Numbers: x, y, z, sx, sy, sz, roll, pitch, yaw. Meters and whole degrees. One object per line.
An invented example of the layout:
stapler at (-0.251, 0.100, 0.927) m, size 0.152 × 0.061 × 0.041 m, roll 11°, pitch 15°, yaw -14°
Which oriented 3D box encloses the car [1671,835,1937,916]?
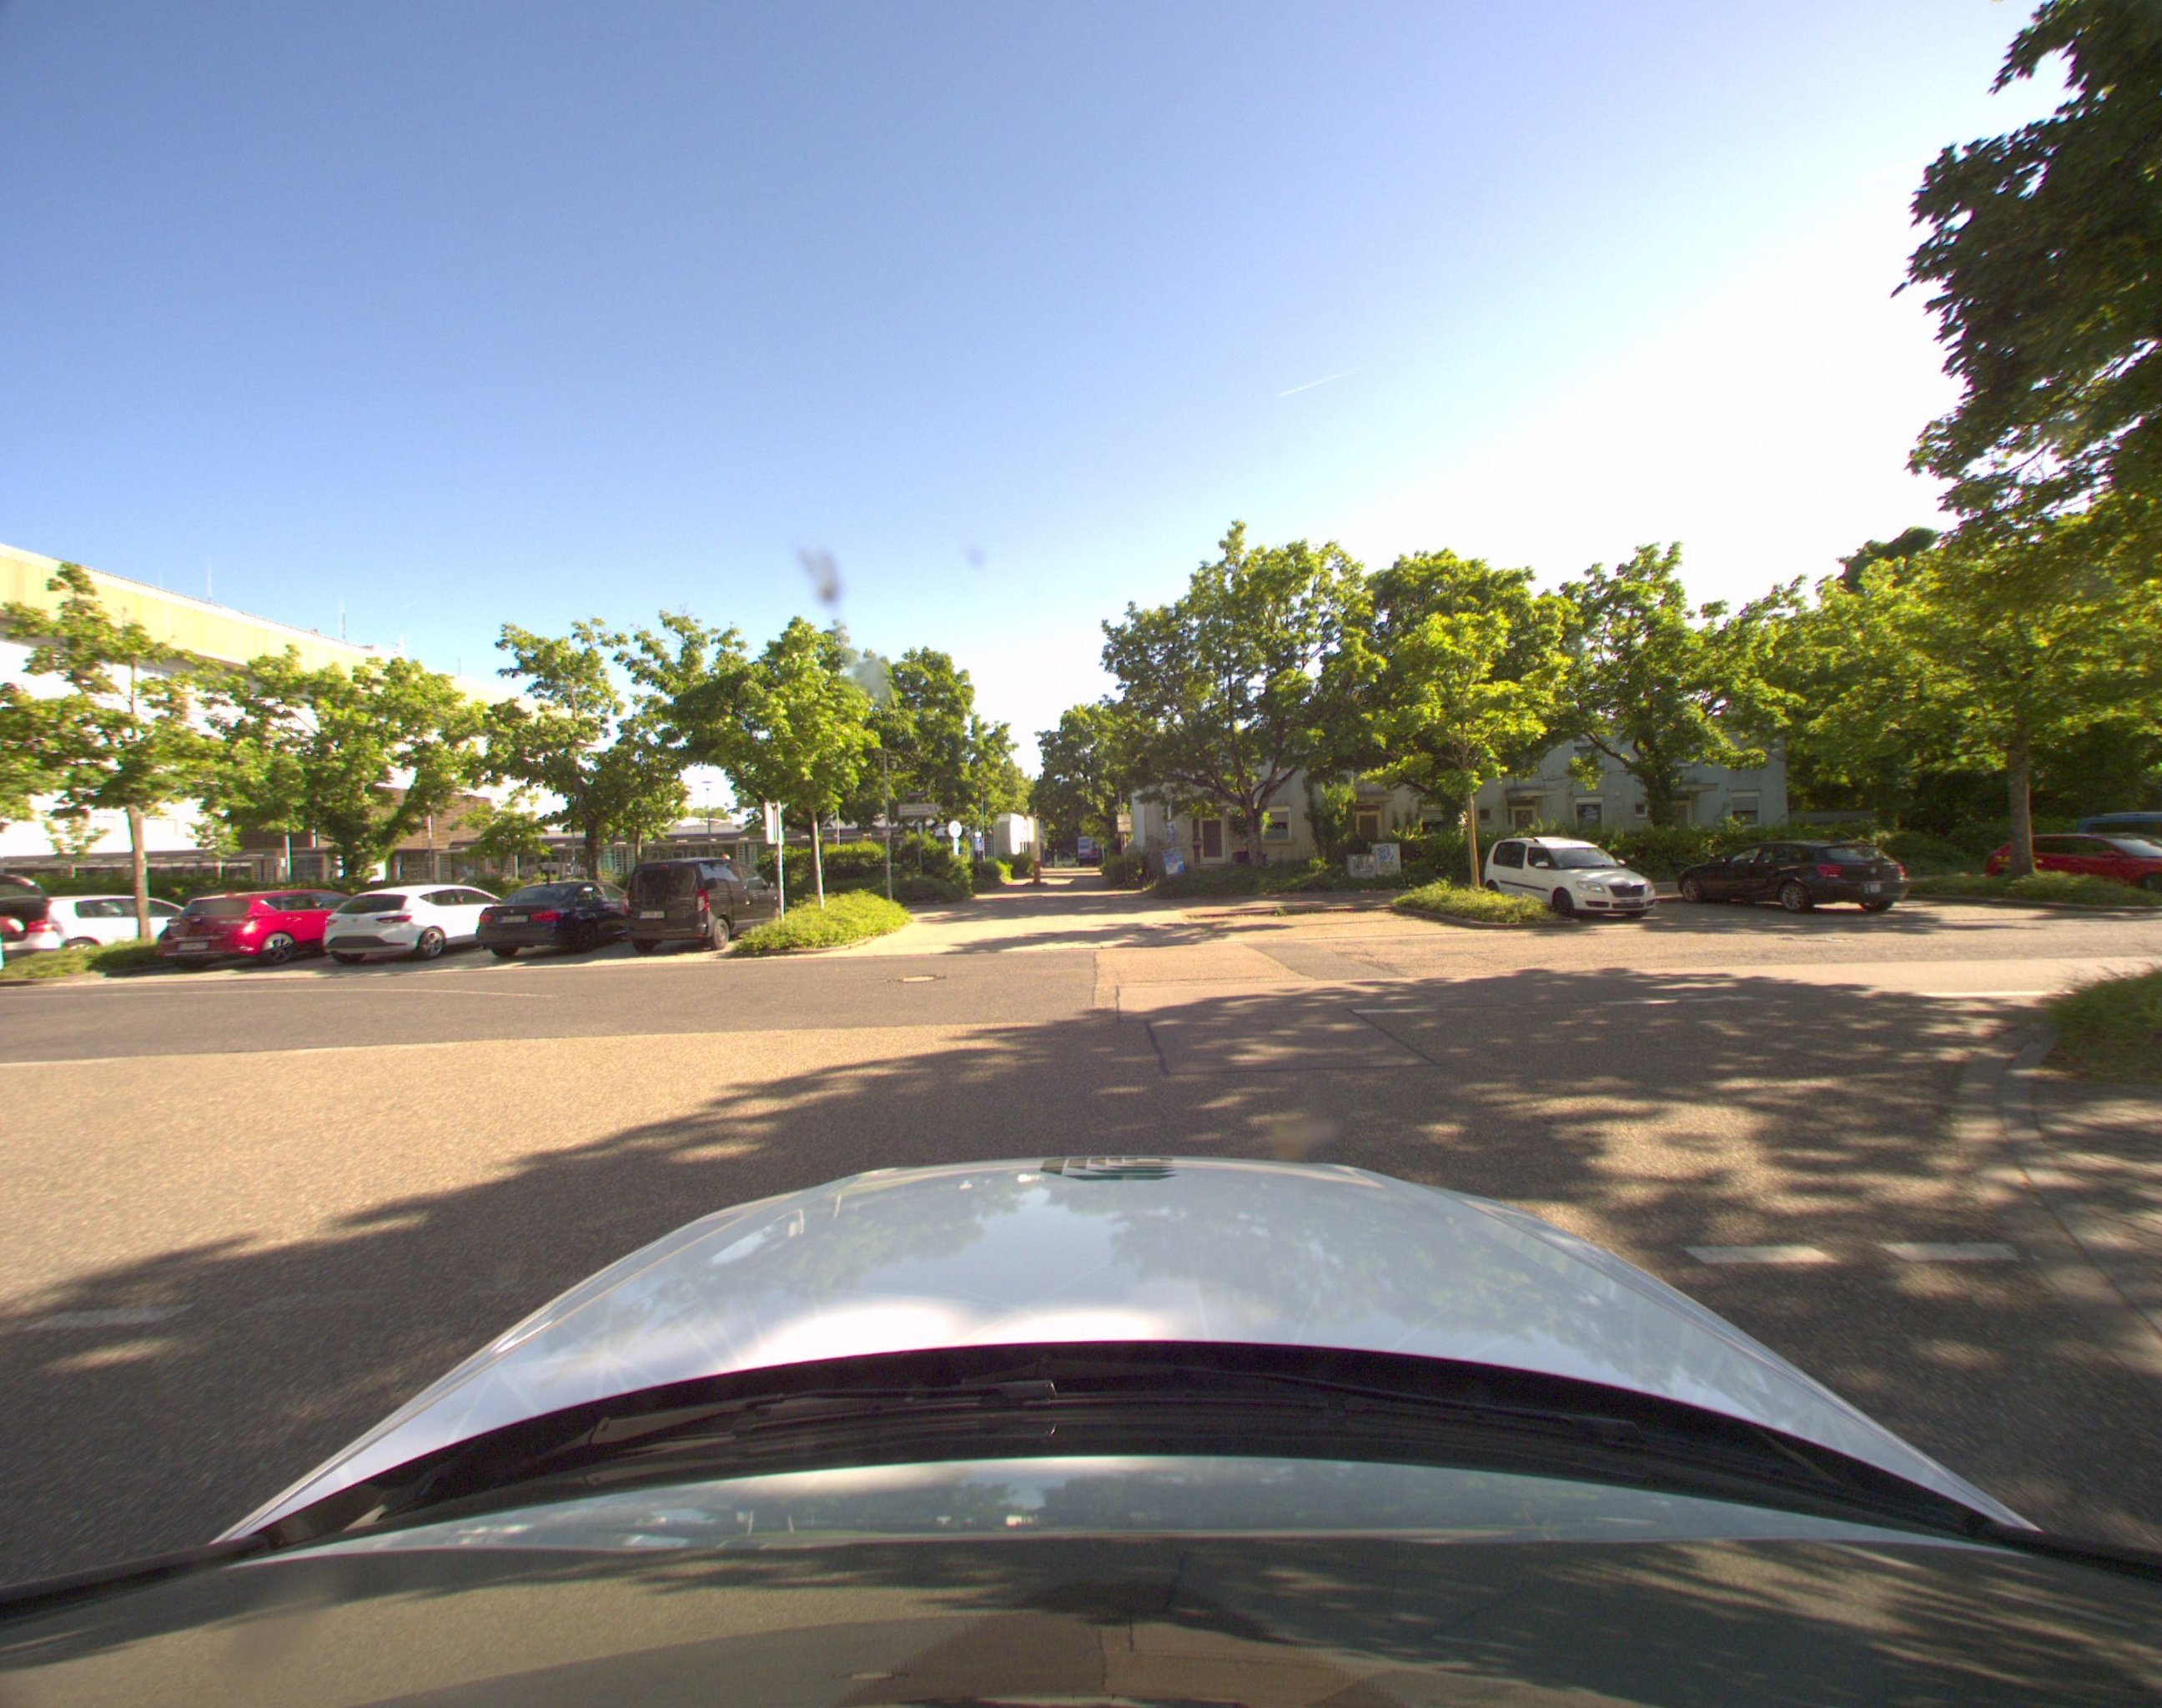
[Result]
car at (14.795, 0.355, 17.035) m, size 1.818 × 1.406 × 4.167 m, roll -2°, pitch 1°, yaw -1°

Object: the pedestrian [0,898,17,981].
pedestrian at (-21.061, 1.647, 15.579) m, size 0.665 × 1.579 × 0.771 m, roll -1°, pitch -1°, yaw 29°

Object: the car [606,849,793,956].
car at (-7.835, 0.891, 17.257) m, size 1.867 × 1.846 × 4.169 m, roll -2°, pitch 1°, yaw 1°

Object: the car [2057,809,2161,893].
car at (24.112, -0.077, 17.020) m, size 1.818 × 1.772 × 4.663 m, roll -2°, pitch 1°, yaw -1°

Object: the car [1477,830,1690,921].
car at (10.272, 0.361, 17.082) m, size 1.818 × 1.598 × 4.166 m, roll -2°, pitch 1°, yaw -1°

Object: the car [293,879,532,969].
car at (-13.790, 1.365, 17.154) m, size 1.797 × 1.436 × 3.910 m, roll -2°, pitch 1°, yaw -1°

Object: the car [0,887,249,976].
car at (-21.169, 1.602, 17.932) m, size 1.669 × 1.578 × 3.910 m, roll -1°, pitch 0°, yaw -1°

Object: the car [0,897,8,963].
car at (-26.053, 1.824, 16.987) m, size 1.726 × 1.519 × 4.197 m, roll -2°, pitch 1°, yaw -1°

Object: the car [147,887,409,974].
car at (-16.612, 1.502, 17.175) m, size 1.662 × 1.426 × 3.910 m, roll -1°, pitch 0°, yaw -1°

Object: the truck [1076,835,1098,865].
truck at (0.877, -0.520, 111.945) m, size 2.750 × 3.869 × 9.331 m, roll -1°, pitch 0°, yaw 1°

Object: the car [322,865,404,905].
car at (-49.150, 2.088, 55.827) m, size 2.216 × 2.491 × 3.648 m, roll -2°, pitch 0°, yaw 2°

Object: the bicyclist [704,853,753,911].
bicyclist at (-9.352, 0.734, 21.648) m, size 1.007 × 1.523 × 0.596 m, roll -1°, pitch 0°, yaw 1°

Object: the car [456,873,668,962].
car at (-10.714, 1.226, 17.250) m, size 1.818 × 1.406 × 4.167 m, roll -2°, pitch 1°, yaw -1°

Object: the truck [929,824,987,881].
truck at (-8.681, -0.083, 58.371) m, size 2.791 × 3.806 × 6.928 m, roll -1°, pitch 0°, yaw 2°

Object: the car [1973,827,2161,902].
car at (21.748, 0.167, 16.935) m, size 1.818 × 1.406 × 4.167 m, roll -2°, pitch 1°, yaw -1°
